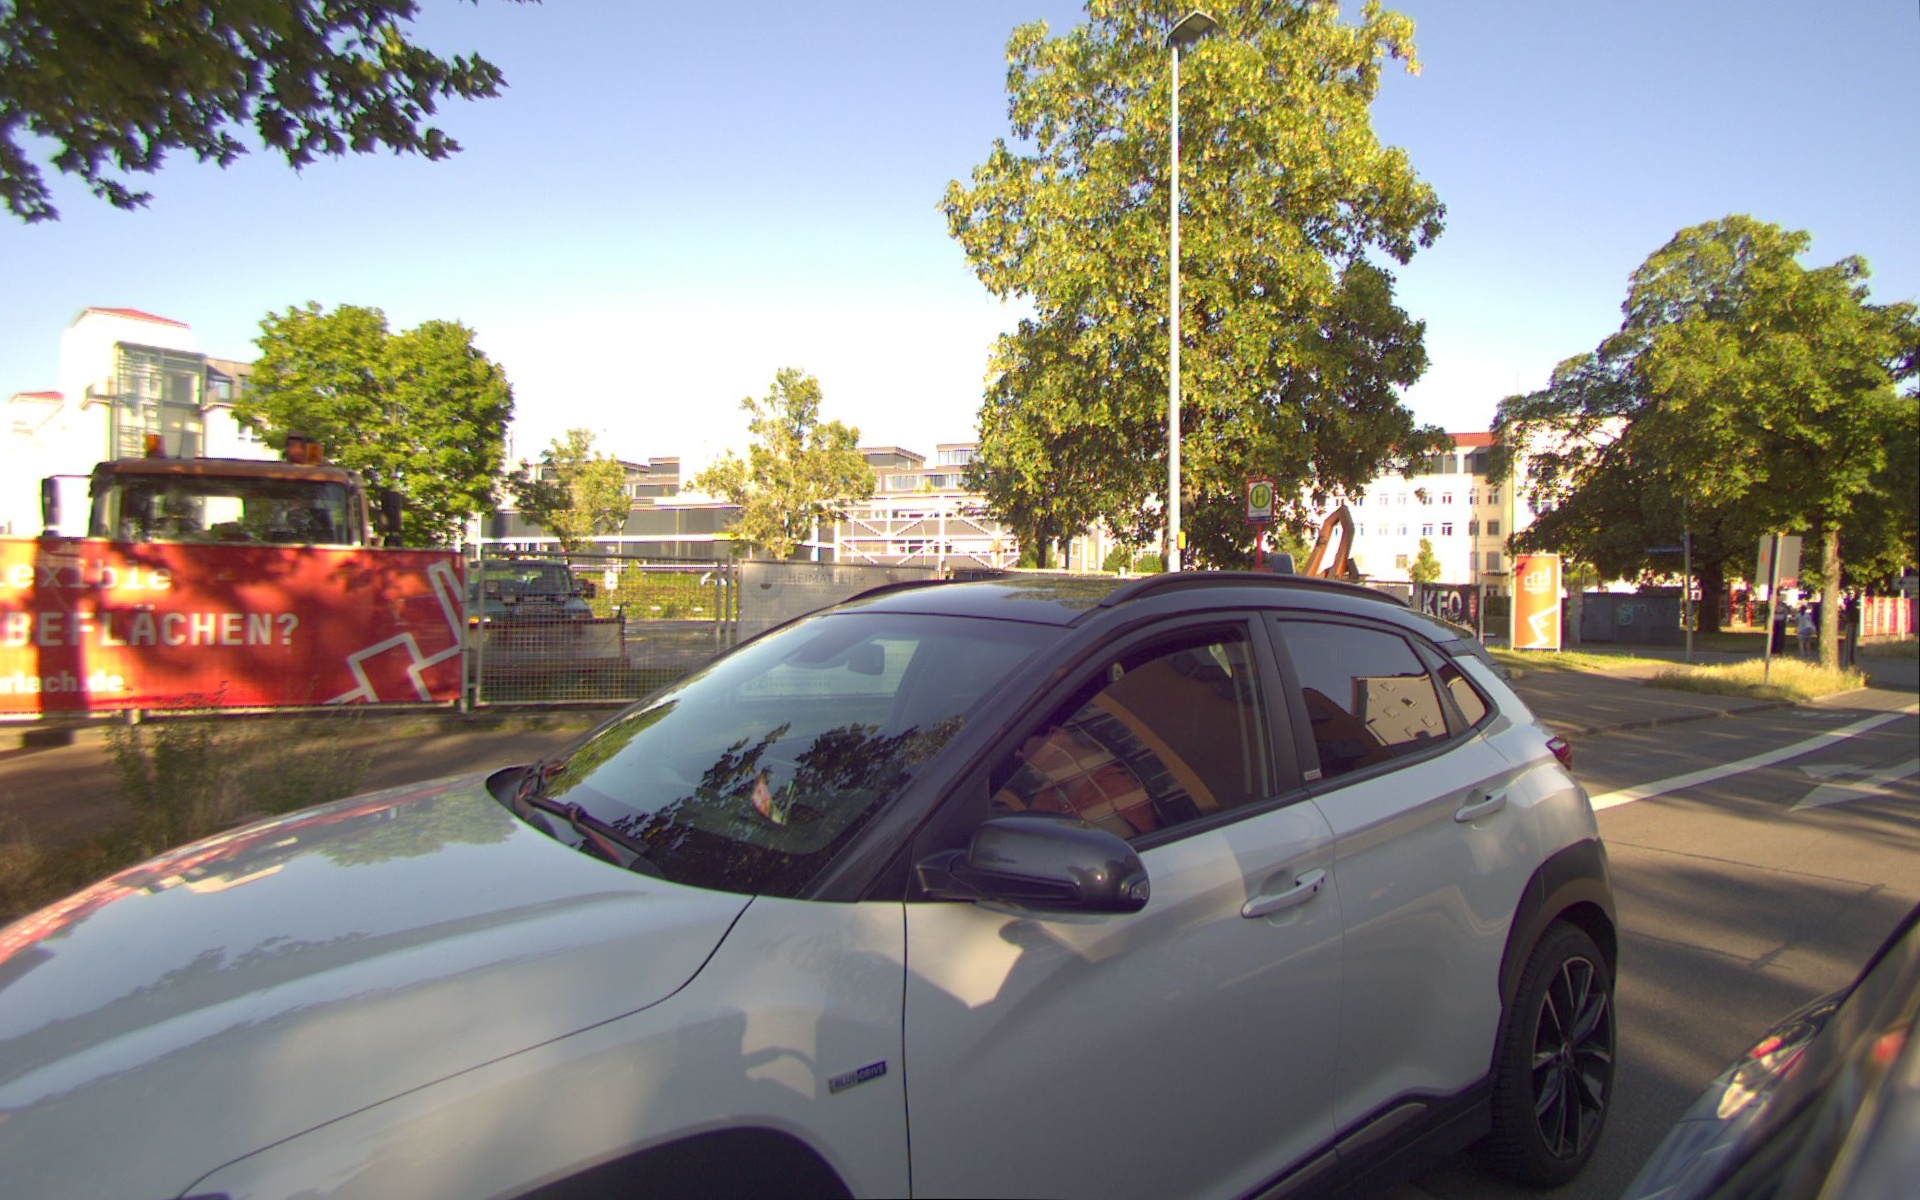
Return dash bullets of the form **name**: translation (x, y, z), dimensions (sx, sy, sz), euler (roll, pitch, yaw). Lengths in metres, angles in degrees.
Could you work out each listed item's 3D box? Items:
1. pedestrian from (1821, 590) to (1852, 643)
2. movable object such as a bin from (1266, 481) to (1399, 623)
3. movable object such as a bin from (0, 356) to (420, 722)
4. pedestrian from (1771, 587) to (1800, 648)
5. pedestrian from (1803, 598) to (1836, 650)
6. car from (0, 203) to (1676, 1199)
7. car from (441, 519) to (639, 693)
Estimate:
- **pedestrian**: translation (28.262, 0.511, 32.643), dimensions (0.692, 1.689, 0.630), euler (0, 0, 38)
- **movable object such as a bin**: translation (15.522, -1.886, 42.755), dimensions (3.910, 5.547, 6.022), euler (0, 0, 6)
- **movable object such as a bin**: translation (-8.394, -0.551, 12.050), dimensions (3.154, 3.087, 6.295), euler (0, 0, -31)
- **pedestrian**: translation (24.338, 0.497, 29.834), dimensions (0.607, 1.759, 0.629), euler (0, 0, 44)
- **pedestrian**: translation (24.603, 0.678, 28.964), dimensions (0.627, 1.452, 0.609), euler (0, 0, -40)
- **car**: translation (-0.012, 0.585, 2.457), dimensions (3.893, 1.618, 1.894), euler (3, -2, -39)
- **car**: translation (-5.670, 0.041, 13.289), dimensions (2.001, 1.851, 4.612), euler (0, 0, -28)
